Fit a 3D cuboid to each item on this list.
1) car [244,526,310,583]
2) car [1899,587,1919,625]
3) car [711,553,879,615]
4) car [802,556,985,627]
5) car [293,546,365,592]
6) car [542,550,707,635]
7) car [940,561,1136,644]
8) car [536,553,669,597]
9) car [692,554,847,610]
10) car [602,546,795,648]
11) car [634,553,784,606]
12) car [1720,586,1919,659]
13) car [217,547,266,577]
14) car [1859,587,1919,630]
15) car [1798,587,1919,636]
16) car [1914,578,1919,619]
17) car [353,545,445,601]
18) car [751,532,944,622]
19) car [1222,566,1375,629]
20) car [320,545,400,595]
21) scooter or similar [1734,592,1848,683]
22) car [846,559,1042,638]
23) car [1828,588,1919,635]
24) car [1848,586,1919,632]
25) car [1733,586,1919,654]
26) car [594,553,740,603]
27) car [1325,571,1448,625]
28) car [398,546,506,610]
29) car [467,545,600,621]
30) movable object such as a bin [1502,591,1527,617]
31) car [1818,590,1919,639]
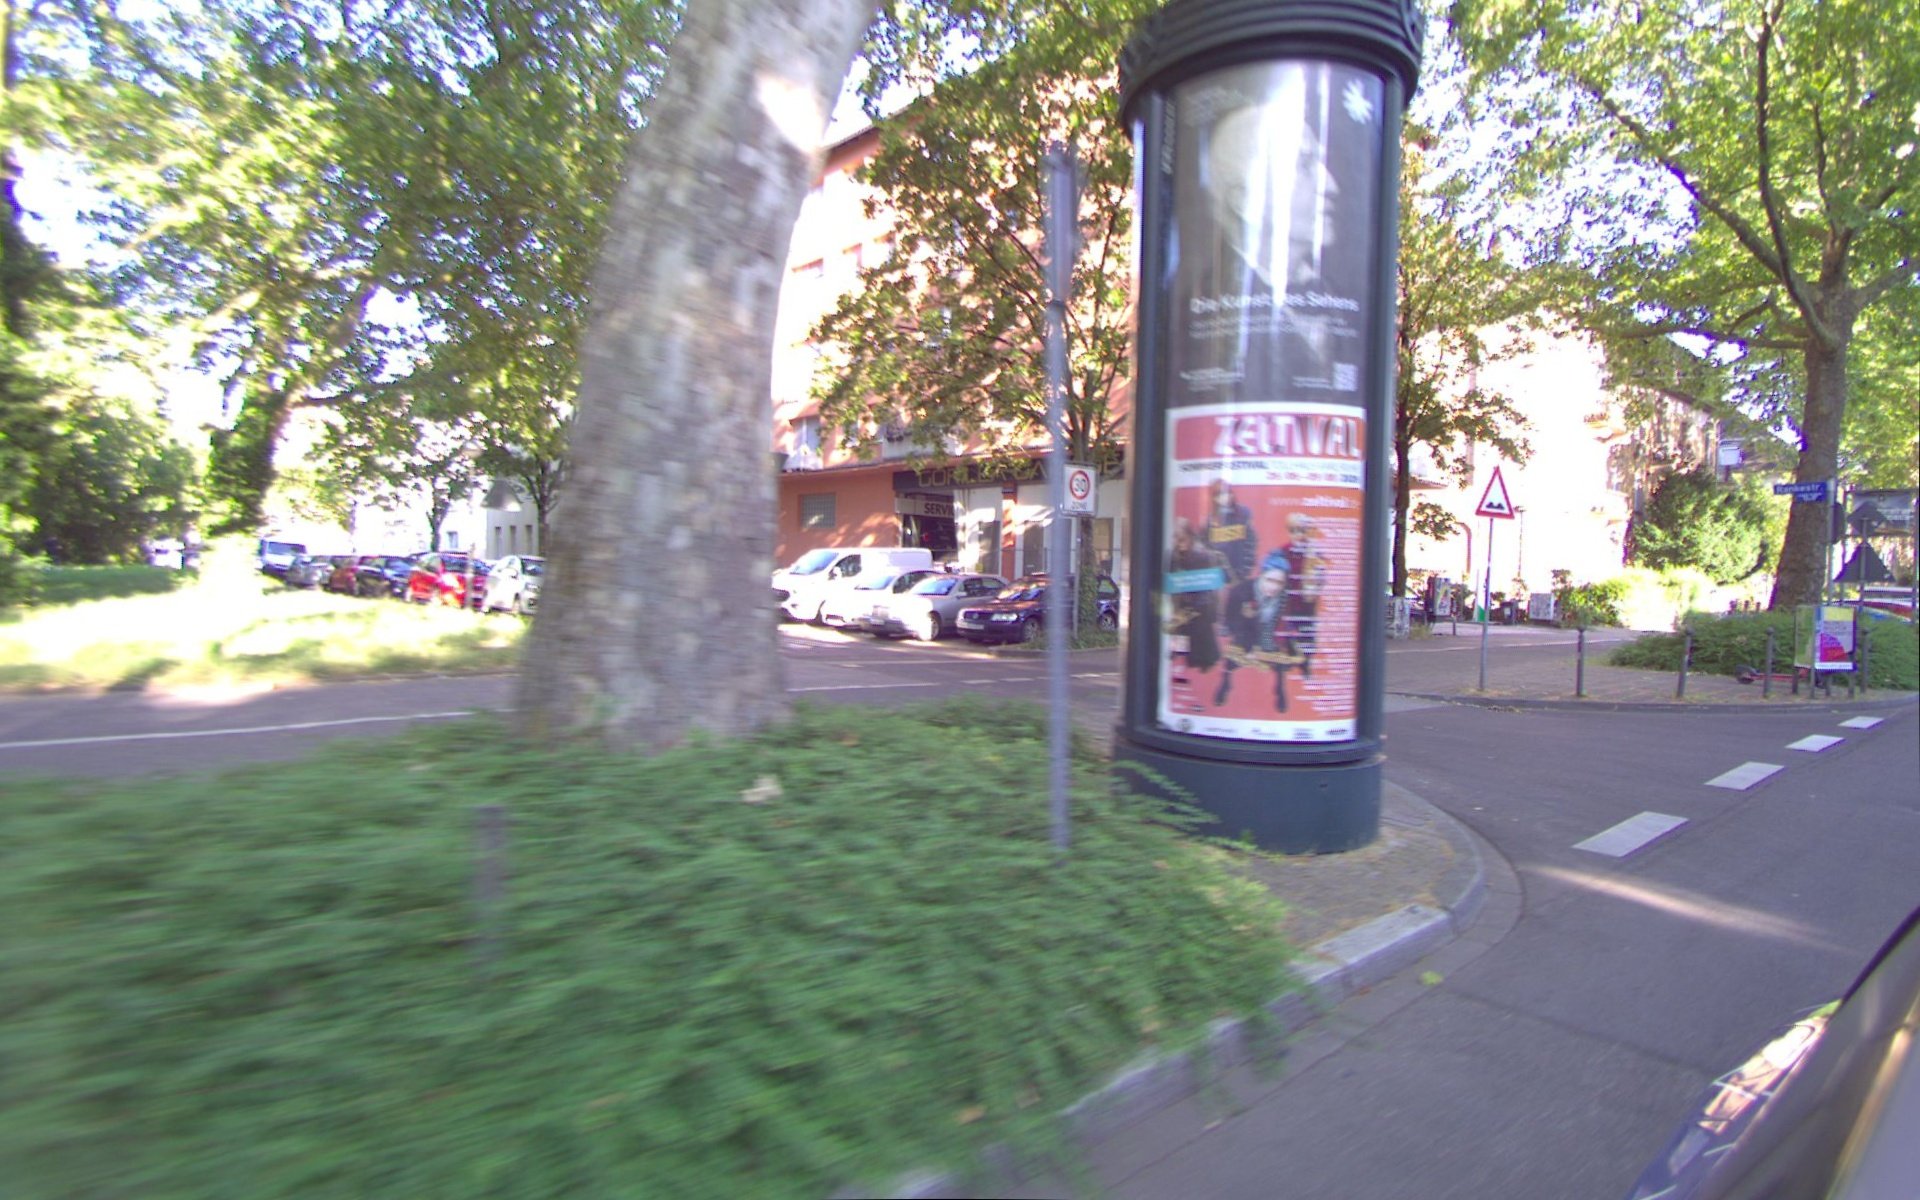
[{"bbox_3d":[-32.952,-2.204,48.790,1.942,2.594,5.037,0,2,-42],"label":"car"},{"bbox_3d":[43.666,0.362,44.132,1.760,1.638,3.789,0,4,-42],"label":"car"},{"bbox_3d":[-4.628,-0.451,28.874,4.503,1.594,1.791,0,3,-45],"label":"car"},{"bbox_3d":[-1.589,-0.221,25.419,4.503,1.594,1.791,0,3,-45],"label":"car"},{"bbox_3d":[-23.972,-1.208,38.398,1.655,1.601,3.924,0,3,-42],"label":"car"},{"bbox_3d":[-6.722,-0.200,20.065,1.655,1.470,3.924,0,3,-42],"label":"car"},{"bbox_3d":[1.789,0.017,21.991,1.790,1.594,4.505,4,3,44],"label":"car"},{"bbox_3d":[-13.796,-0.946,39.197,4.503,1.594,1.791,0,3,-45],"label":"car"},{"bbox_3d":[-5.849,-0.550,31.516,4.503,1.594,1.791,0,3,-45],"label":"car"},{"bbox_3d":[-4.428,-0.110,16.870,1.655,1.470,3.544,0,3,-42],"label":"car"},{"bbox_3d":[-8.186,-0.656,33.327,4.503,1.594,1.791,0,3,-45],"label":"car"},{"bbox_3d":[21.793,0.512,25.026,1.782,1.562,4.421,1,2,-33],"label":"car"},{"bbox_3d":[-40.313,-2.137,56.767,1.769,1.529,3.994,0,3,-42],"label":"car"},{"bbox_3d":[38.594,0.366,40.043,1.784,1.639,4.212,0,2,-38],"label":"car"},{"bbox_3d":[32.691,0.402,35.912,1.784,1.575,4.212,0,2,-38],"label":"car"},{"bbox_3d":[50.234,0.094,49.625,2.157,2.038,4.853,0,4,-43],"label":"car"},{"bbox_3d":[-17.412,-0.858,31.316,1.655,1.601,3.924,0,3,-42],"label":"car"},{"bbox_3d":[-2.935,-0.615,27.210,5.000,2.211,1.914,0,2,-44],"label":"car"},{"bbox_3d":[8.884,-0.086,26.381,4.389,1.452,1.753,0,3,-41],"label":"car"},{"bbox_3d":[-20.948,-1.049,35.242,1.655,1.601,3.924,0,3,-42],"label":"car"},{"bbox_3d":[12.514,0.533,15.260,0.560,1.255,1.210,0,3,-42],"label":"scooter or similar"},{"bbox_3d":[-0.271,-0.059,23.131,1.790,1.594,4.505,4,3,44],"label":"car"},{"bbox_3d":[34.719,0.437,36.997,1.784,1.593,4.212,0,2,-38],"label":"car"},{"bbox_3d":[36.541,0.375,38.296,1.847,1.639,4.206,0,2,-43],"label":"car"},{"bbox_3d":[23.542,0.493,26.872,1.916,1.562,4.416,0,2,-38],"label":"car"},{"bbox_3d":[-10.017,-0.739,34.841,4.503,1.594,1.791,0,3,-45],"label":"car"},{"bbox_3d":[12.564,-0.074,29.734,3.880,1.452,1.753,0,3,-40],"label":"car"},{"bbox_3d":[-14.033,-0.649,27.863,1.655,1.601,3.924,0,3,-42],"label":"car"},{"bbox_3d":[-9.994,-0.438,23.581,1.655,1.601,3.924,0,3,-42],"label":"car"},{"bbox_3d":[20.607,0.143,37.599,0.438,0.951,0.659,-1,3,-35],"label":"movable object such as a bin"},{"bbox_3d":[31.396,0.499,33.595,1.785,1.465,4.209,0,2,-40],"label":"car"}]
